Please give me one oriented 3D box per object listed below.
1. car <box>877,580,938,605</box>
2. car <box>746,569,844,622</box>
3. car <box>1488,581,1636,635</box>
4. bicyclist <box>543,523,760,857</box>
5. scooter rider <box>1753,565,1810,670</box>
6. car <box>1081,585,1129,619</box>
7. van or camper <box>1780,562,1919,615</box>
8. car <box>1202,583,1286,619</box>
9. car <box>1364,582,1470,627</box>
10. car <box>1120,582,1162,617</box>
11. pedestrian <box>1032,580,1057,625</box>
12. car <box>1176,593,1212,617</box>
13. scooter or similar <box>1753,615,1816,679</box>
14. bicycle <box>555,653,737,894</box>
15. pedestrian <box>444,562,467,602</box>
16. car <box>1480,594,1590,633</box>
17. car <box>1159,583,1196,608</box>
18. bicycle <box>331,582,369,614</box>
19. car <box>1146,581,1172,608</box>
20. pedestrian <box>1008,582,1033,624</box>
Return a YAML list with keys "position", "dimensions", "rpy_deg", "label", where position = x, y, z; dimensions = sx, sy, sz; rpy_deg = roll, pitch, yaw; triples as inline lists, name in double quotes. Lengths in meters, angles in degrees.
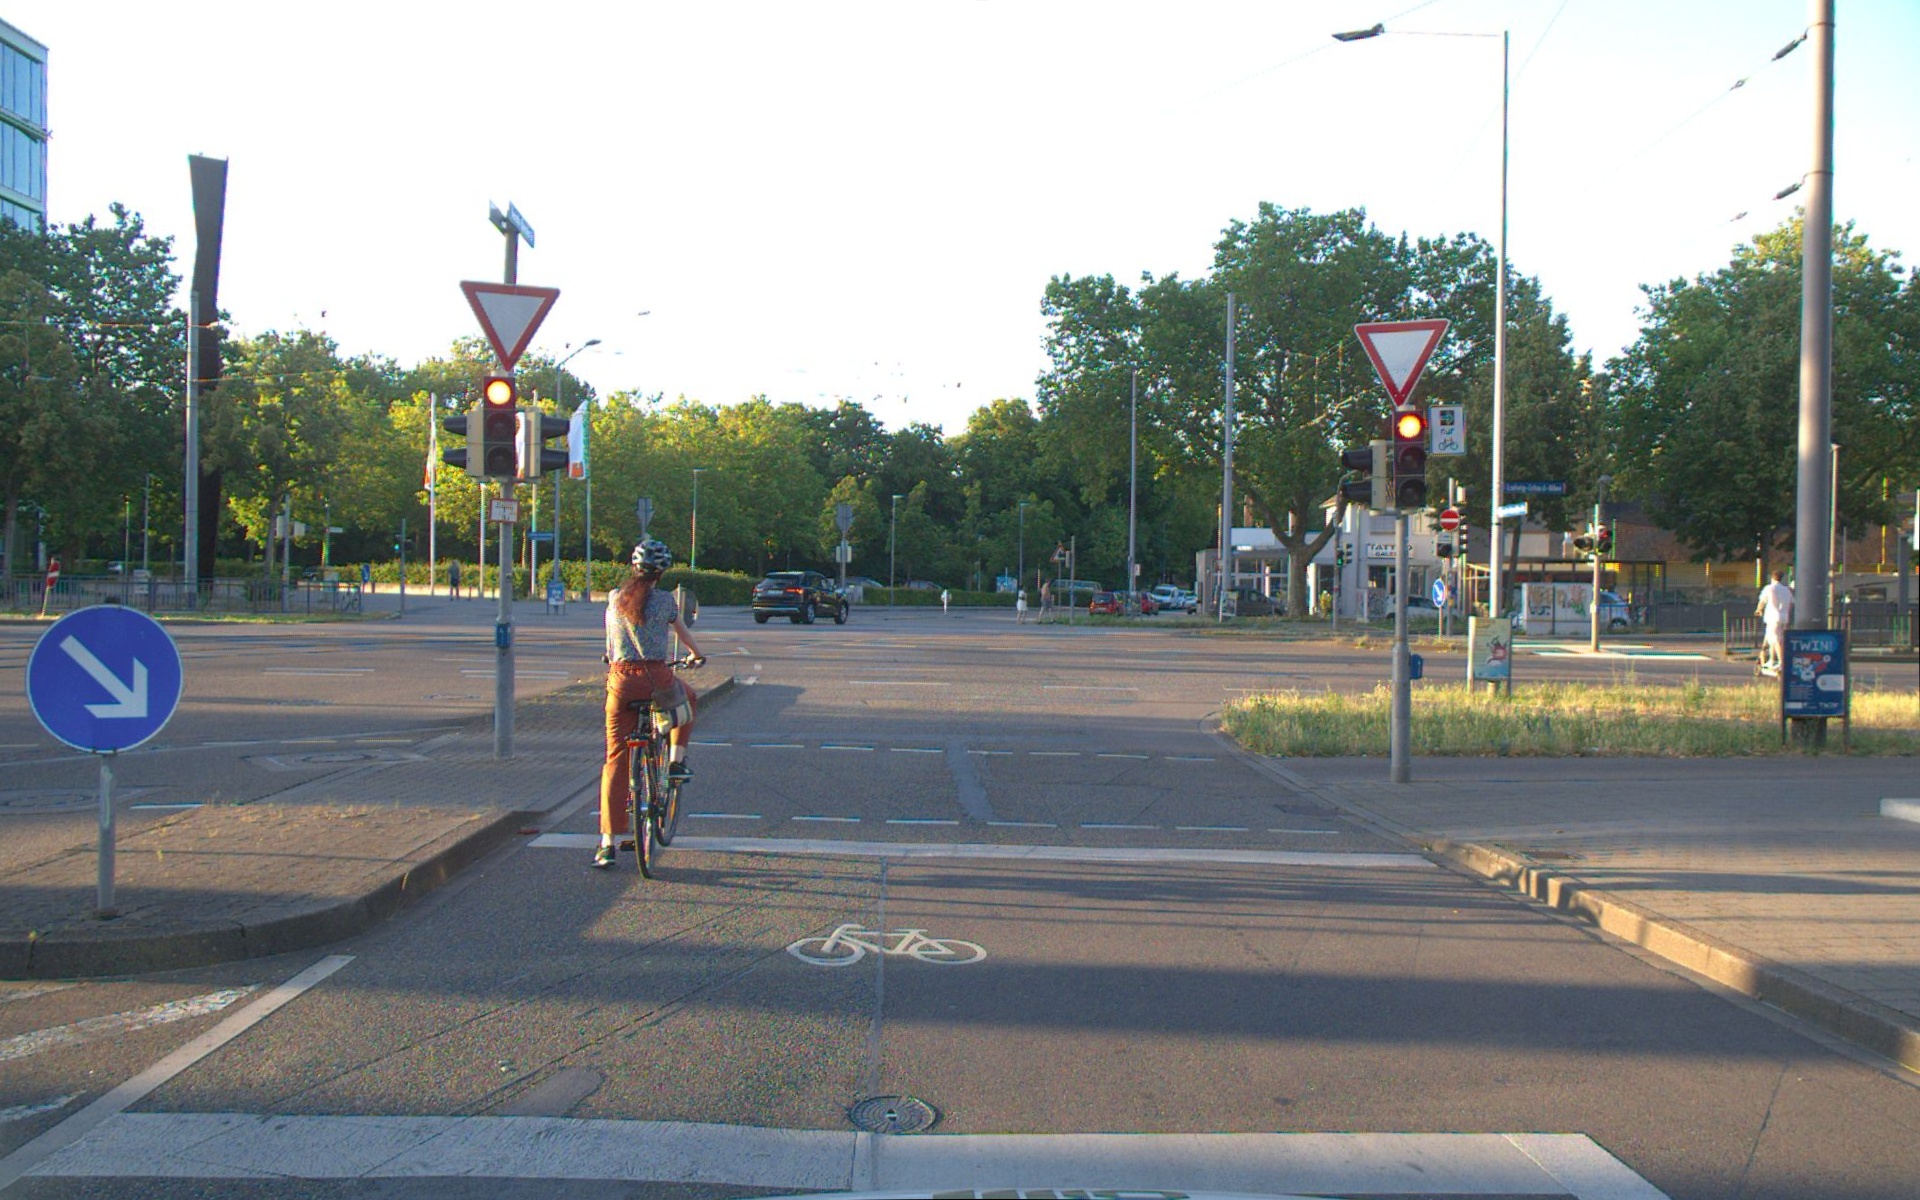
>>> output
- position: [-3.444, -0.528, 109.456]
  dimensions: [3.905, 1.588, 2.000]
  rpy_deg: [1, 0, 1]
  label: "car"
- position: [-5.104, -0.096, 51.733]
  dimensions: [1.718, 1.568, 4.404]
  rpy_deg: [1, -1, 12]
  label: "car"
- position: [20.800, 0.259, 57.231]
  dimensions: [4.445, 1.758, 1.860]
  rpy_deg: [1, 0, -5]
  label: "car"
- position: [-1.688, 0.470, 9.224]
  dimensions: [1.011, 1.748, 0.996]
  rpy_deg: [1, 0, -1]
  label: "bicyclist"
- position: [14.959, 0.321, 30.124]
  dimensions: [0.688, 1.887, 0.669]
  rpy_deg: [1, -1, -1]
  label: "scooter rider"
- position: [8.437, 0.097, 95.821]
  dimensions: [1.829, 1.907, 3.875]
  rpy_deg: [1, 1, 20]
  label: "car"
- position: [43.638, -0.542, 80.334]
  dimensions: [6.426, 2.452, 2.265]
  rpy_deg: [1, 0, 3]
  label: "van or camper"
- position: [15.306, 0.034, 89.189]
  dimensions: [4.285, 1.867, 1.950]
  rpy_deg: [1, 1, 4]
  label: "car"
- position: [20.079, 0.175, 72.772]
  dimensions: [4.142, 1.878, 2.001]
  rpy_deg: [1, 0, 2]
  label: "car"
- position: [11.363, -0.036, 103.480]
  dimensions: [1.875, 2.083, 4.002]
  rpy_deg: [1, 1, 17]
  label: "car"
- position: [3.430, 0.103, 67.134]
  dimensions: [0.704, 1.785, 0.897]
  rpy_deg: [1, 0, 23]
  label: "pedestrian"
- position: [16.351, 0.321, 115.636]
  dimensions: [1.875, 1.630, 4.002]
  rpy_deg: [1, 1, 17]
  label: "car"
- position: [14.951, 0.839, 30.013]
  dimensions: [0.499, 1.109, 1.243]
  rpy_deg: [1, 0, -1]
  label: "scooter or similar"
- position: [-1.690, 0.890, 9.211]
  dimensions: [0.621, 1.086, 2.122]
  rpy_deg: [1, 1, -1]
  label: "bicycle"
- position: [-22.893, -0.803, 75.071]
  dimensions: [0.884, 1.785, 0.715]
  rpy_deg: [1, 0, -26]
  label: "pedestrian"
- position: [25.250, 0.571, 72.678]
  dimensions: [4.142, 1.605, 2.001]
  rpy_deg: [1, 0, 2]
  label: "car"
- position: [17.898, -0.393, 136.090]
  dimensions: [1.953, 2.049, 3.998]
  rpy_deg: [1, 1, 24]
  label: "car"
- position: [-23.081, -0.084, 62.596]
  dimensions: [0.685, 1.156, 2.391]
  rpy_deg: [1, 1, -3]
  label: "bicycle"
- position: [15.802, -0.449, 131.414]
  dimensions: [1.951, 2.049, 4.003]
  rpy_deg: [1, 1, 6]
  label: "car"
- position: [2.487, 0.117, 67.938]
  dimensions: [0.704, 1.667, 0.897]
  rpy_deg: [1, 0, 23]
  label: "pedestrian"
